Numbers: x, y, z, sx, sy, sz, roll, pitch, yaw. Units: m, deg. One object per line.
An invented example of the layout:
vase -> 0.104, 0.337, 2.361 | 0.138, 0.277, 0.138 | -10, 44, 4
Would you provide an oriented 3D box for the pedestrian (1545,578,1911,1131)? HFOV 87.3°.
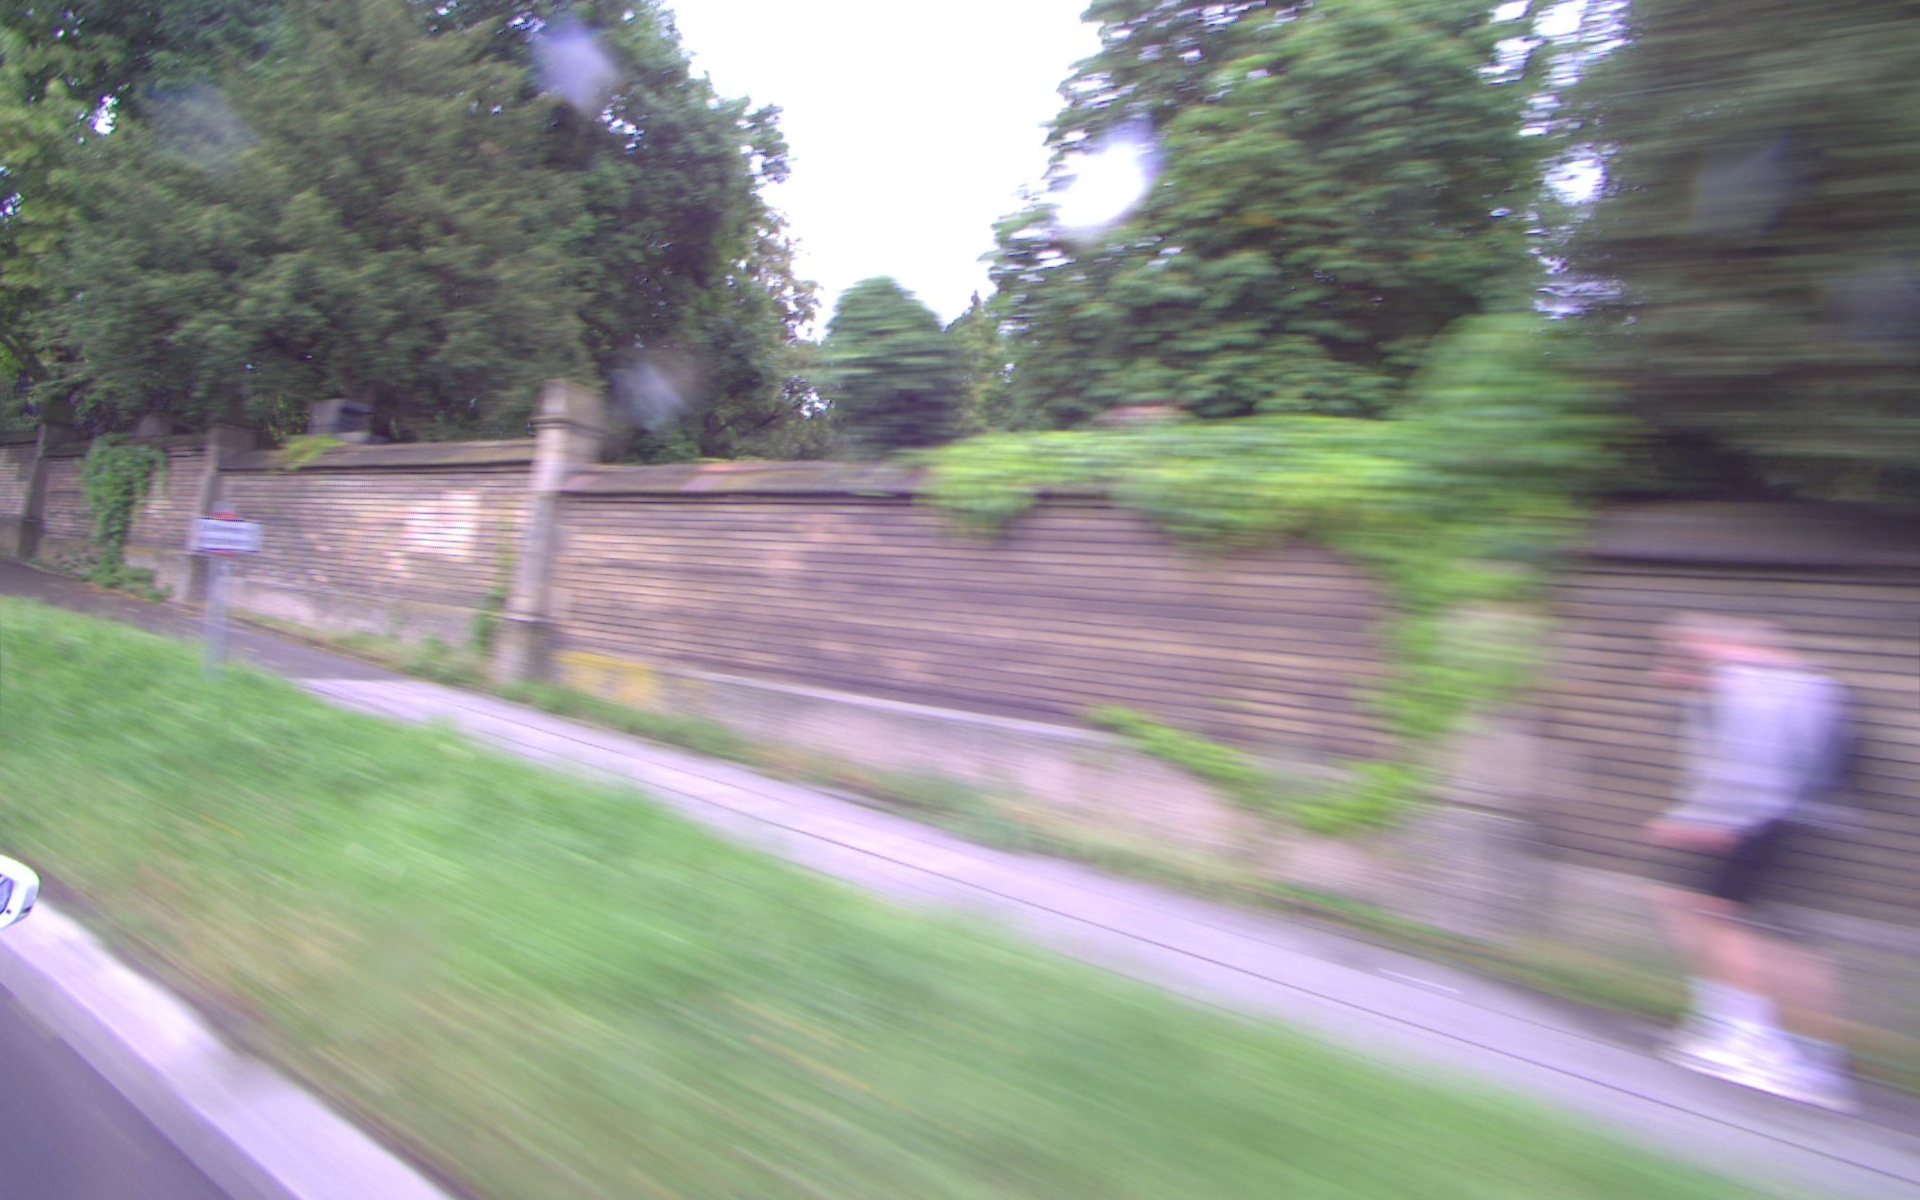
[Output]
pedestrian -> 2.911, 0.888, 3.936 | 0.886, 1.800, 0.709 | 7, -1, 31
